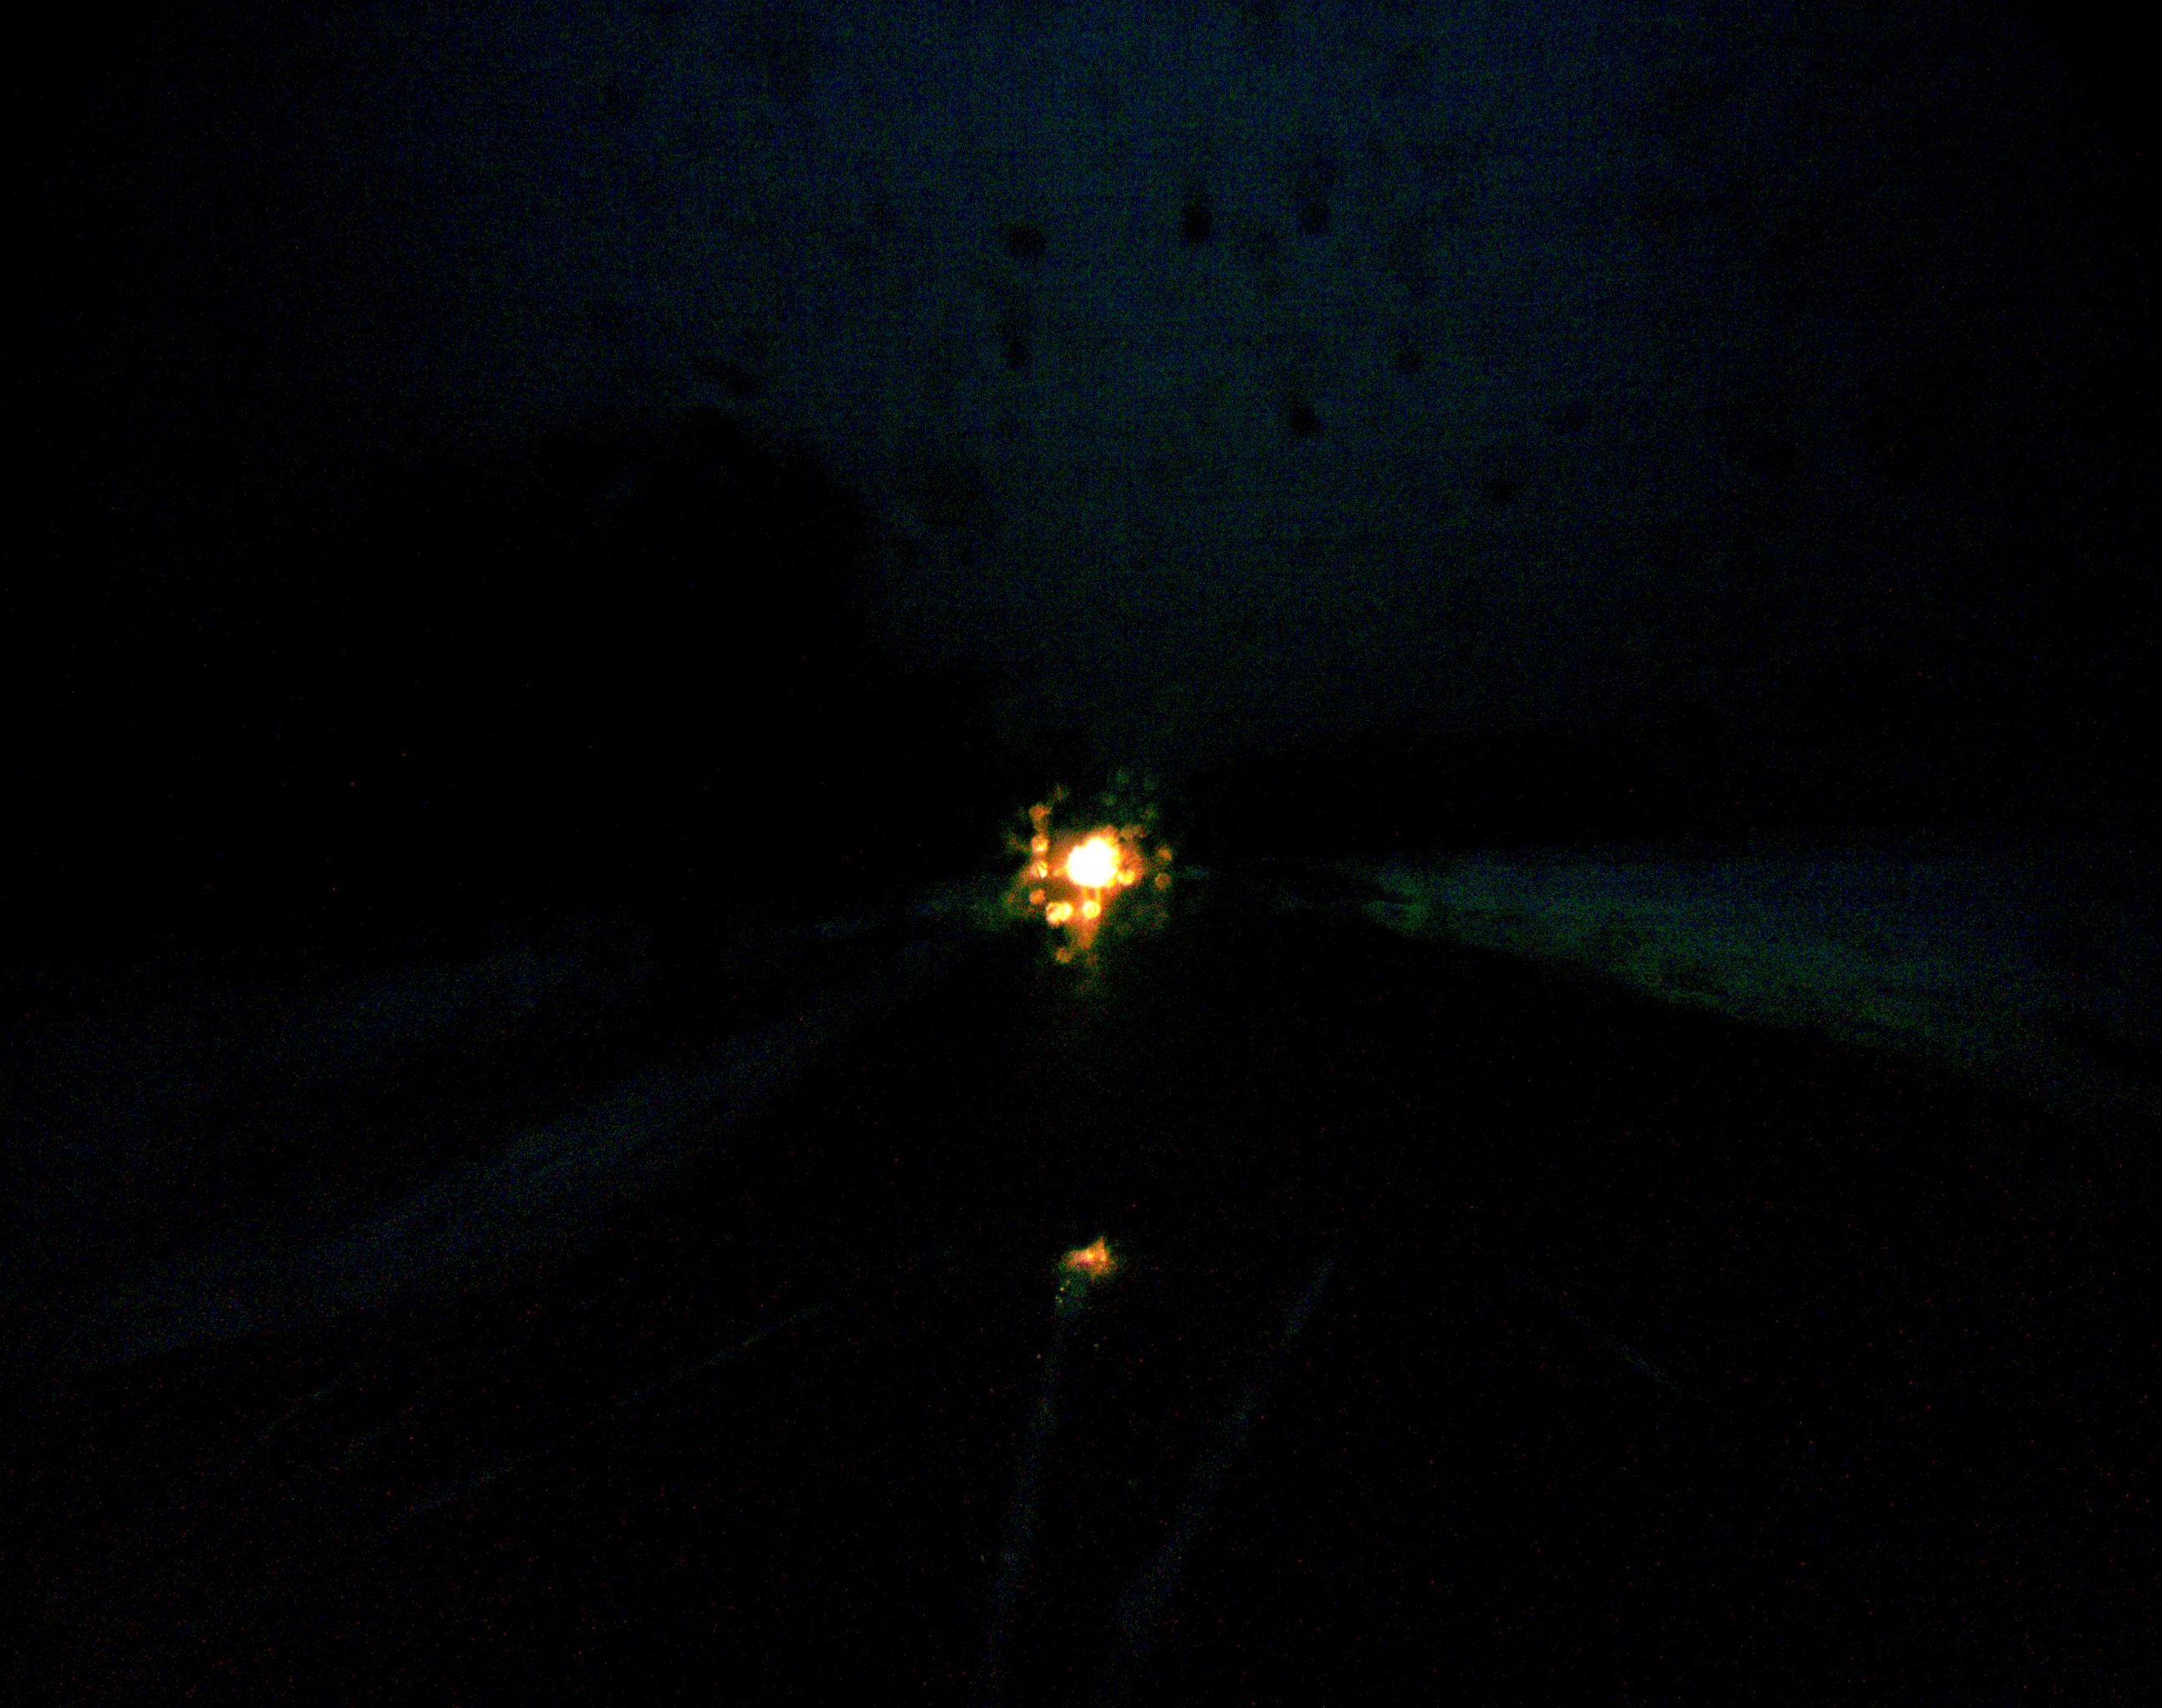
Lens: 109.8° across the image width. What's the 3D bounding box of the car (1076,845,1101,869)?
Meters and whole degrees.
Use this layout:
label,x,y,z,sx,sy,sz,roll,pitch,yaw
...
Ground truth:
label,x,y,z,sx,sy,sz,roll,pitch,yaw
car,0.716,0.220,71.834,1.998,2.002,4.000,-5,1,4
